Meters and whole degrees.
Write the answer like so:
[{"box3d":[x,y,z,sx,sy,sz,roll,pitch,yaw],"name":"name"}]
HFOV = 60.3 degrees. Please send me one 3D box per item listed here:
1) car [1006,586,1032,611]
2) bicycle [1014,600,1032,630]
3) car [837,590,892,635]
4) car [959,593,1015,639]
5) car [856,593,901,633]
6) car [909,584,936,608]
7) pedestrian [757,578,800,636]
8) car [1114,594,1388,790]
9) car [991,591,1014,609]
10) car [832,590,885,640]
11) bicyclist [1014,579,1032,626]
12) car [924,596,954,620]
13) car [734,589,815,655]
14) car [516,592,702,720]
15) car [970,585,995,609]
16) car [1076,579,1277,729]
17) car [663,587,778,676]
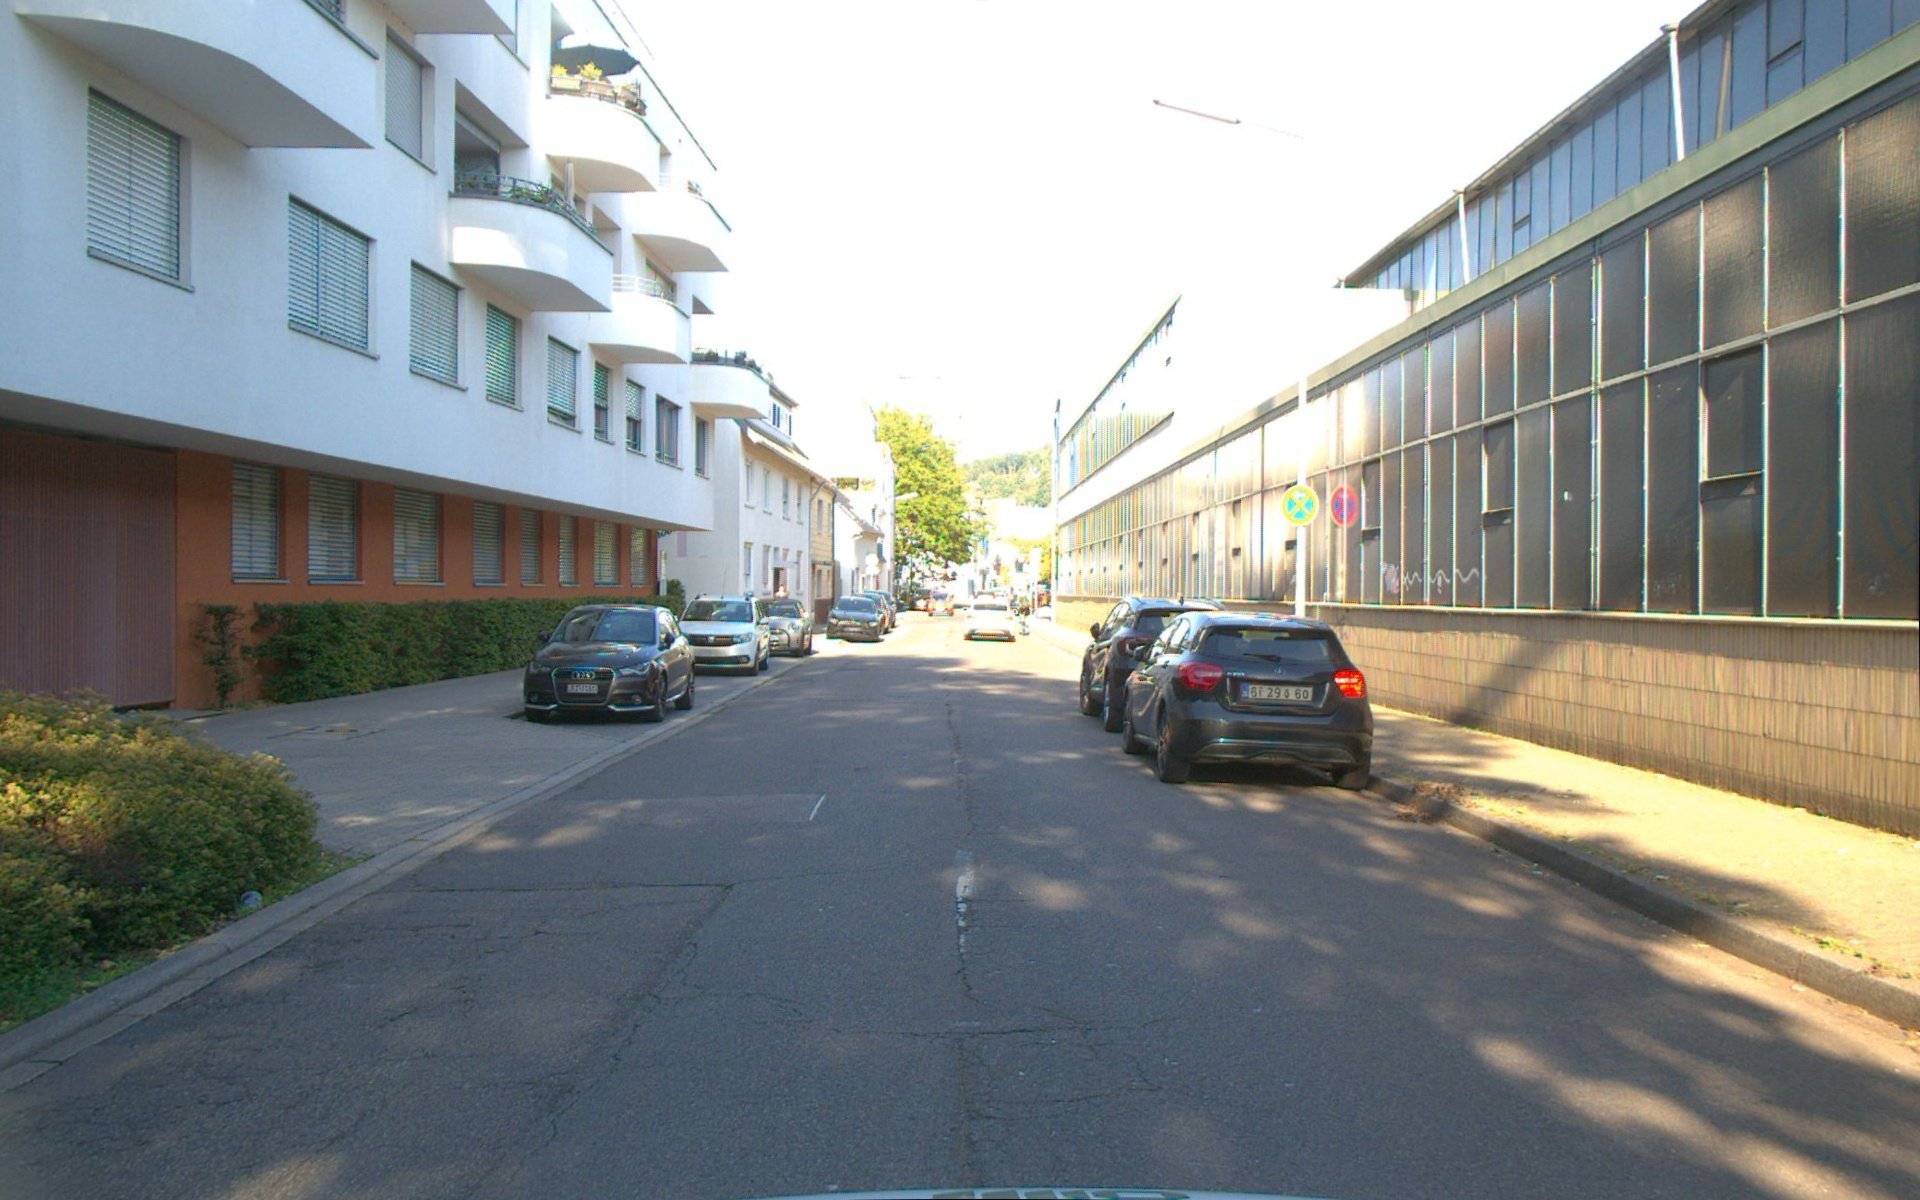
[{"box3d":[4.003,-0.106,112.396,1.596,1.614,4.069,-2,0,0],"name":"car"},{"box3d":[2.513,0.583,65.903,0.684,1.150,2.403,1,0,2],"name":"bicycle"},{"box3d":[-3.797,0.478,66.189,1.819,1.614,4.337,2,1,1],"name":"car"},{"box3d":[0.906,0.544,57.448,1.804,1.517,4.143,1,0,-1],"name":"car"},{"box3d":[-3.676,0.567,74.930,1.772,1.614,4.193,2,2,0],"name":"car"},{"box3d":[-2.918,-0.331,129.559,1.814,1.823,4.608,1,0,2],"name":"car"},{"box3d":[-5.969,0.226,54.477,0.844,1.850,1.131,4,1,24],"name":"pedestrian"},{"box3d":[2.555,0.747,15.608,1.715,1.517,4.621,2,0,0],"name":"car"},{"box3d":[3.882,0.021,149.922,1.803,1.517,4.147,1,0,6],"name":"car"},{"box3d":[-3.419,0.501,55.781,1.651,1.562,4.332,2,0,-3],"name":"car"},{"box3d":[2.515,0.107,65.807,0.684,1.821,1.041,1,0,2],"name":"bicyclist"},{"box3d":[-1.326,0.500,105.810,1.804,1.517,4.144,1,0,0],"name":"car"},{"box3d":[-4.756,0.539,42.733,1.633,1.562,3.856,2,0,-1],"name":"car"},{"box3d":[-4.456,0.669,21.510,1.640,1.458,3.769,2,0,-1],"name":"car"},{"box3d":[1.748,-0.264,129.276,1.815,1.823,4.606,1,0,-1],"name":"car"},{"box3d":[2.586,0.611,20.786,1.770,1.615,4.403,2,0,-2],"name":"car"},{"box3d":[-4.749,0.591,33.399,1.821,1.615,4.618,2,0,-3],"name":"car"}]
